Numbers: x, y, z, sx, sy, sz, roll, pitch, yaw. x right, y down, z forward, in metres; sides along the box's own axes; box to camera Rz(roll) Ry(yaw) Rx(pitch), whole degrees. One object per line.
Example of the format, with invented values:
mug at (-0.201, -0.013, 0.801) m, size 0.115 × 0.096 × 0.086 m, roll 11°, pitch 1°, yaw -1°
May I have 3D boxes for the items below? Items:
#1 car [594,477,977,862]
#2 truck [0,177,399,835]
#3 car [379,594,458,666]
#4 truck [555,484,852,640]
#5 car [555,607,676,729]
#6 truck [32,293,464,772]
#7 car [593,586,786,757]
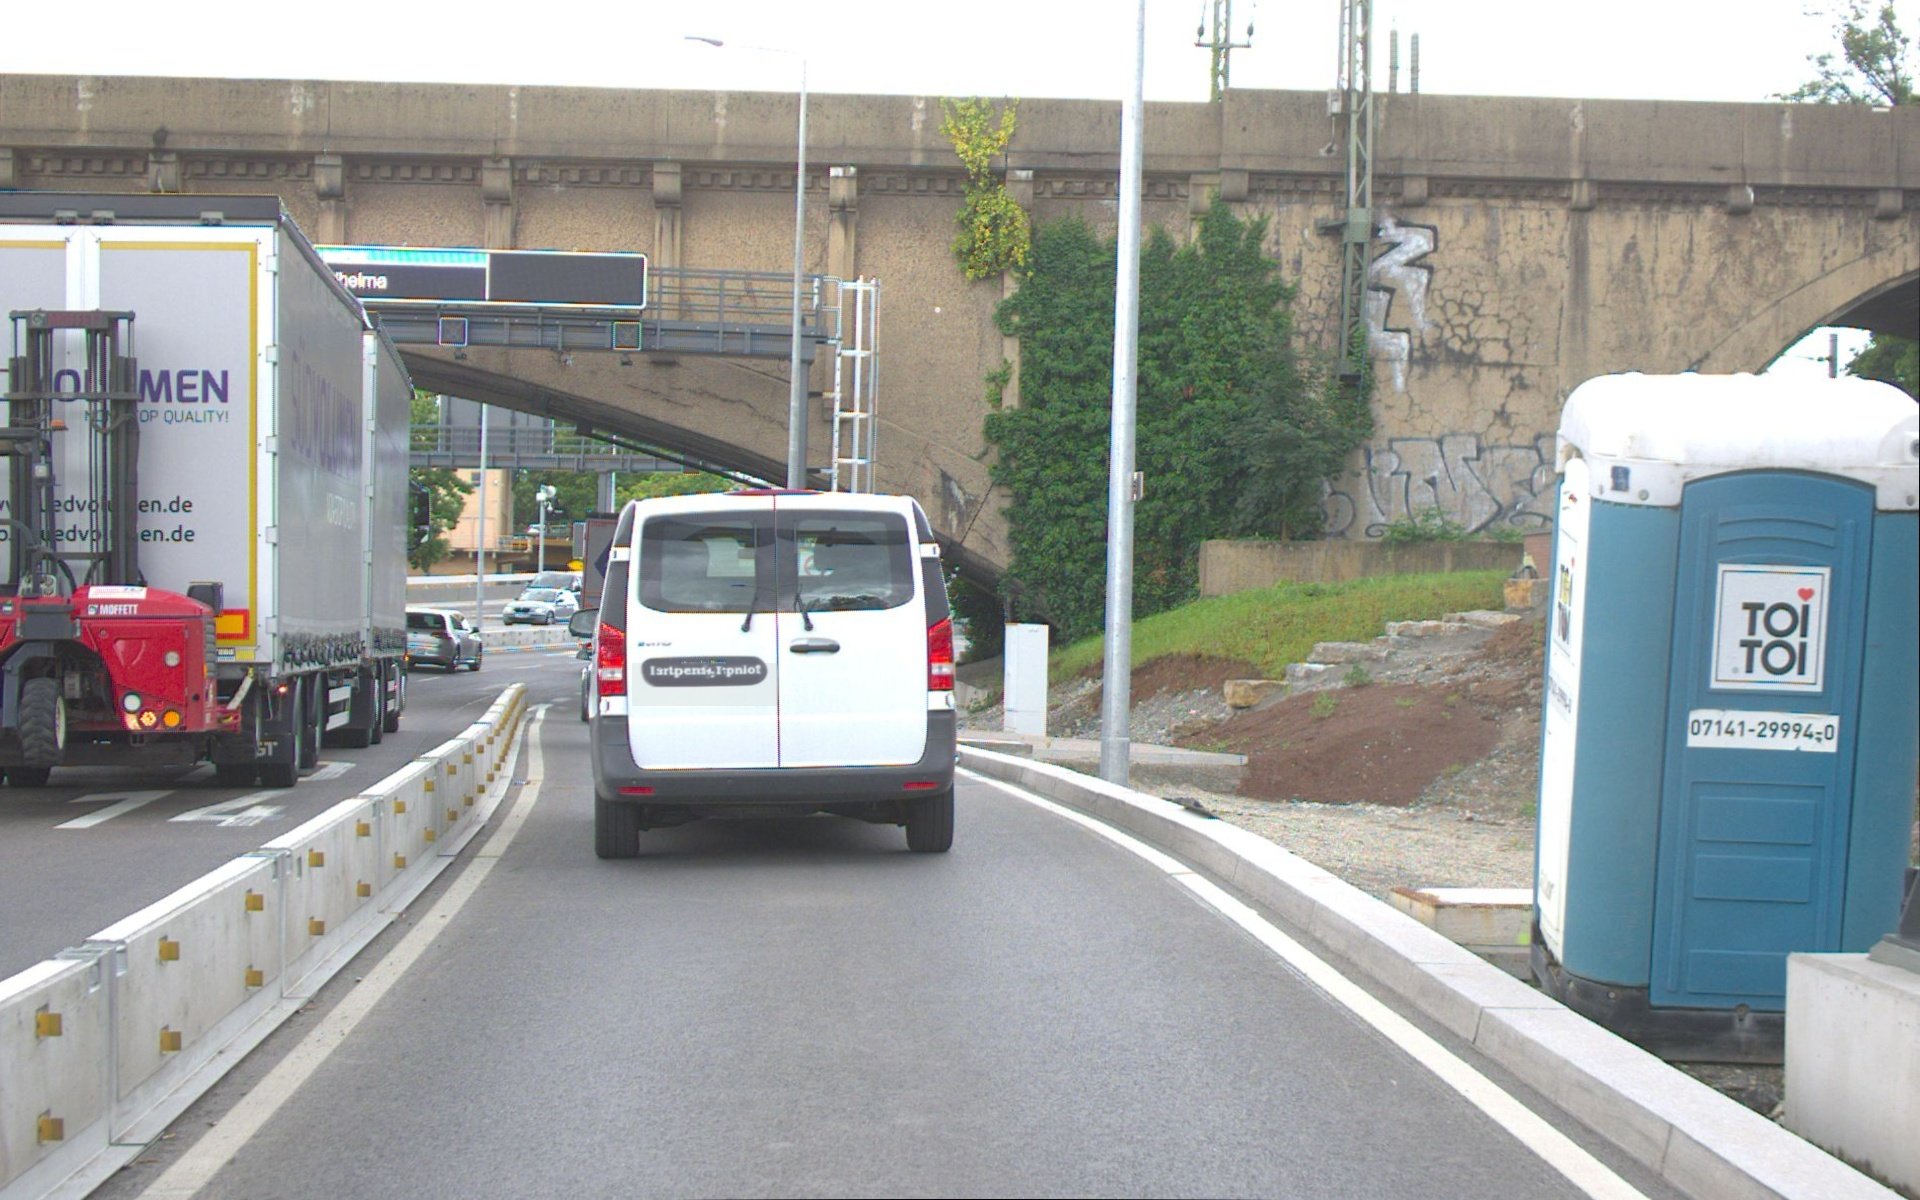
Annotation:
car at (-1.035, 0.359, 19.280) m, size 1.876 × 1.884 × 4.753 m, roll 0°, pitch 0°, yaw -4°
truck at (-6.245, -0.639, 26.307) m, size 2.917 × 4.003 × 10.202 m, roll 2°, pitch 0°, yaw -5°
car at (-12.610, 0.675, 80.119) m, size 1.757 × 1.547 × 4.001 m, roll 1°, pitch 1°, yaw -9°
truck at (-6.792, -0.927, 95.410) m, size 3.319 × 3.796 × 16.583 m, roll 3°, pitch 0°, yaw 13°
car at (-4.577, 0.883, 46.001) m, size 1.500 × 1.464 × 3.399 m, roll 2°, pitch 1°, yaw -5°
truck at (-7.166, -0.637, 36.353) m, size 2.987 × 4.162 × 11.242 m, roll 2°, pitch 0°, yaw -5°
car at (-2.706, 0.684, 35.081) m, size 1.749 × 1.620 × 3.845 m, roll 1°, pitch 0°, yaw -2°
